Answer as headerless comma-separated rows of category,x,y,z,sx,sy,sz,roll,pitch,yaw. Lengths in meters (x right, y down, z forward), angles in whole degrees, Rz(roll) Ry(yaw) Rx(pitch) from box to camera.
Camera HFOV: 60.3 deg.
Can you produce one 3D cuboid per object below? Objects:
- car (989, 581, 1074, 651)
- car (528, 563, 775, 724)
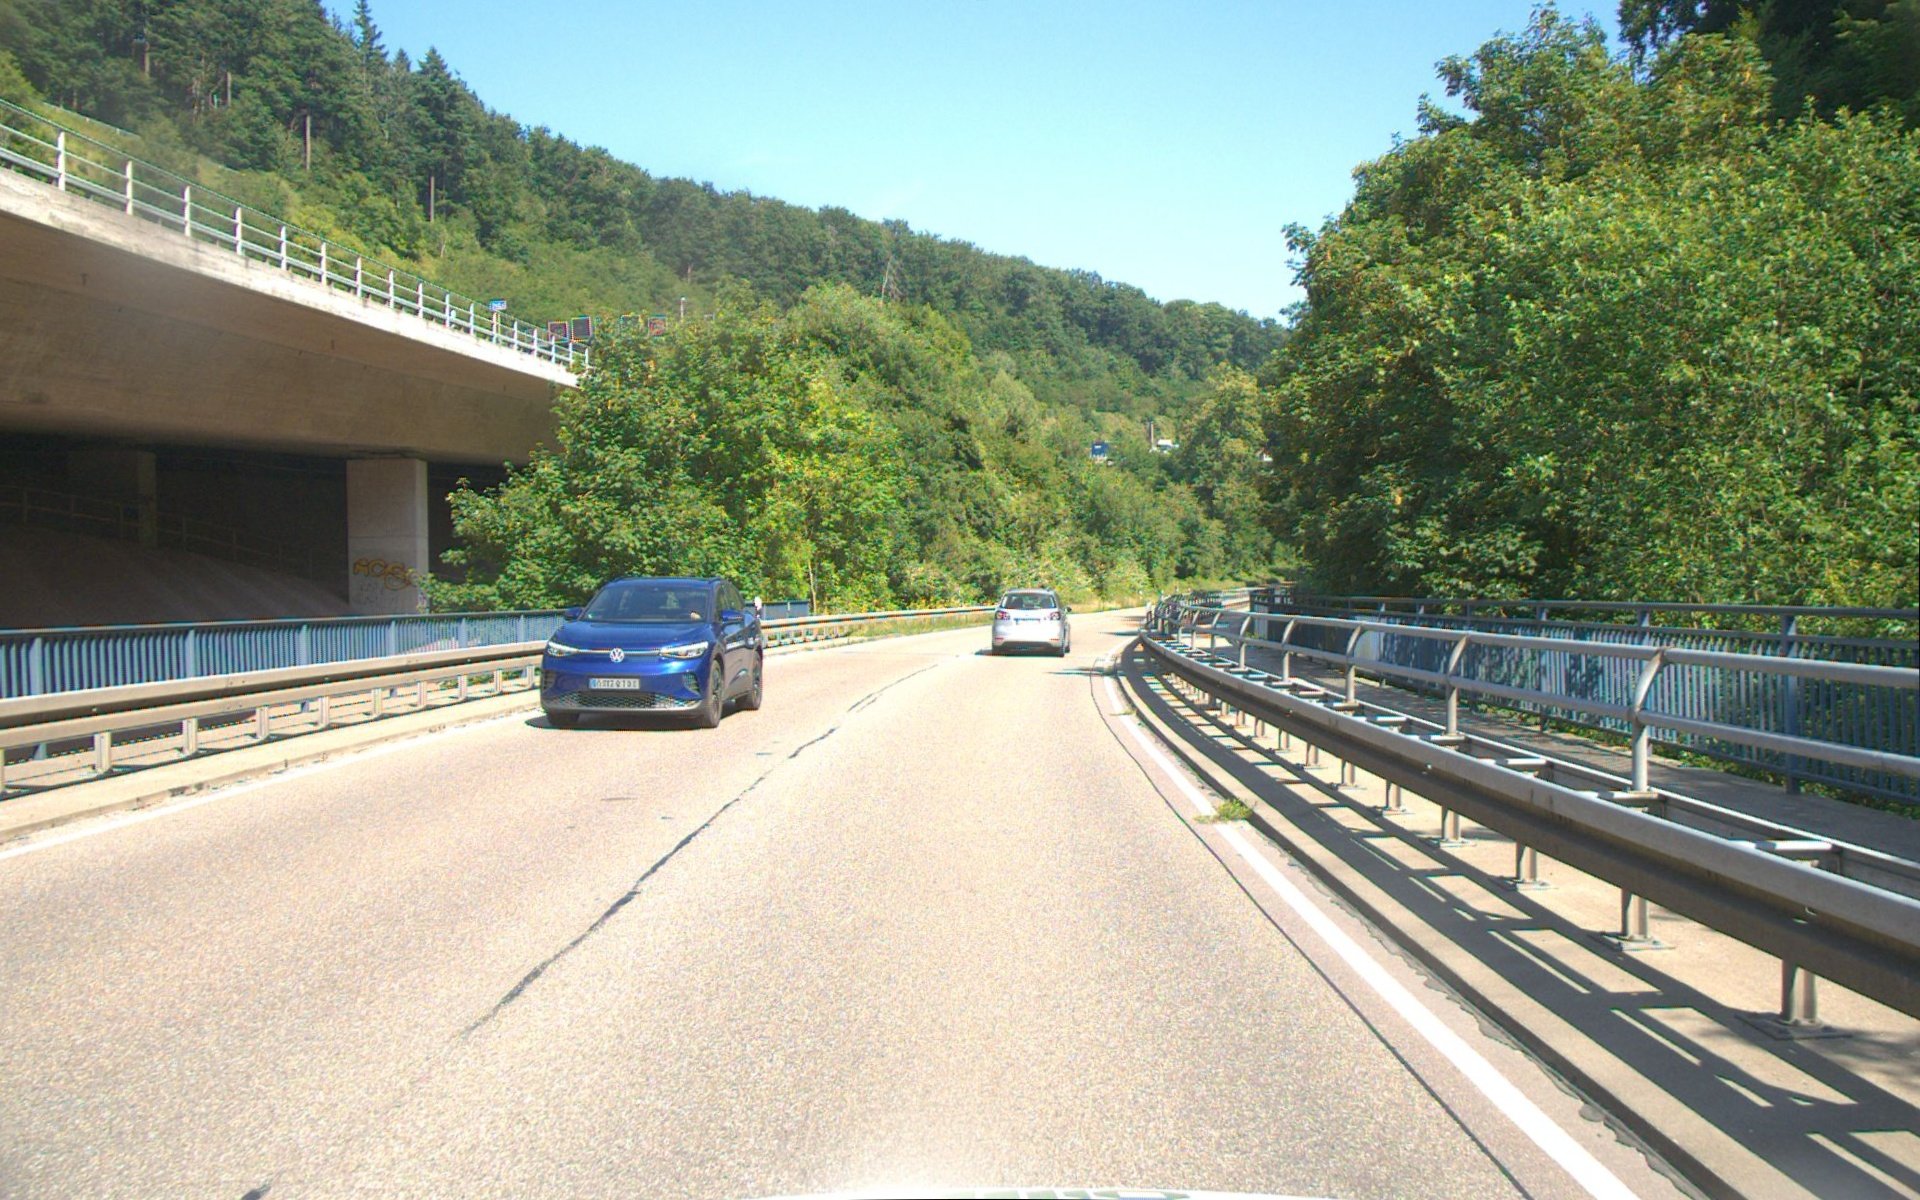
car,1.768,0.344,39.856,1.714,1.546,4.163,1,1,7
car,-3.401,0.431,19.159,1.859,1.608,4.556,1,0,2
